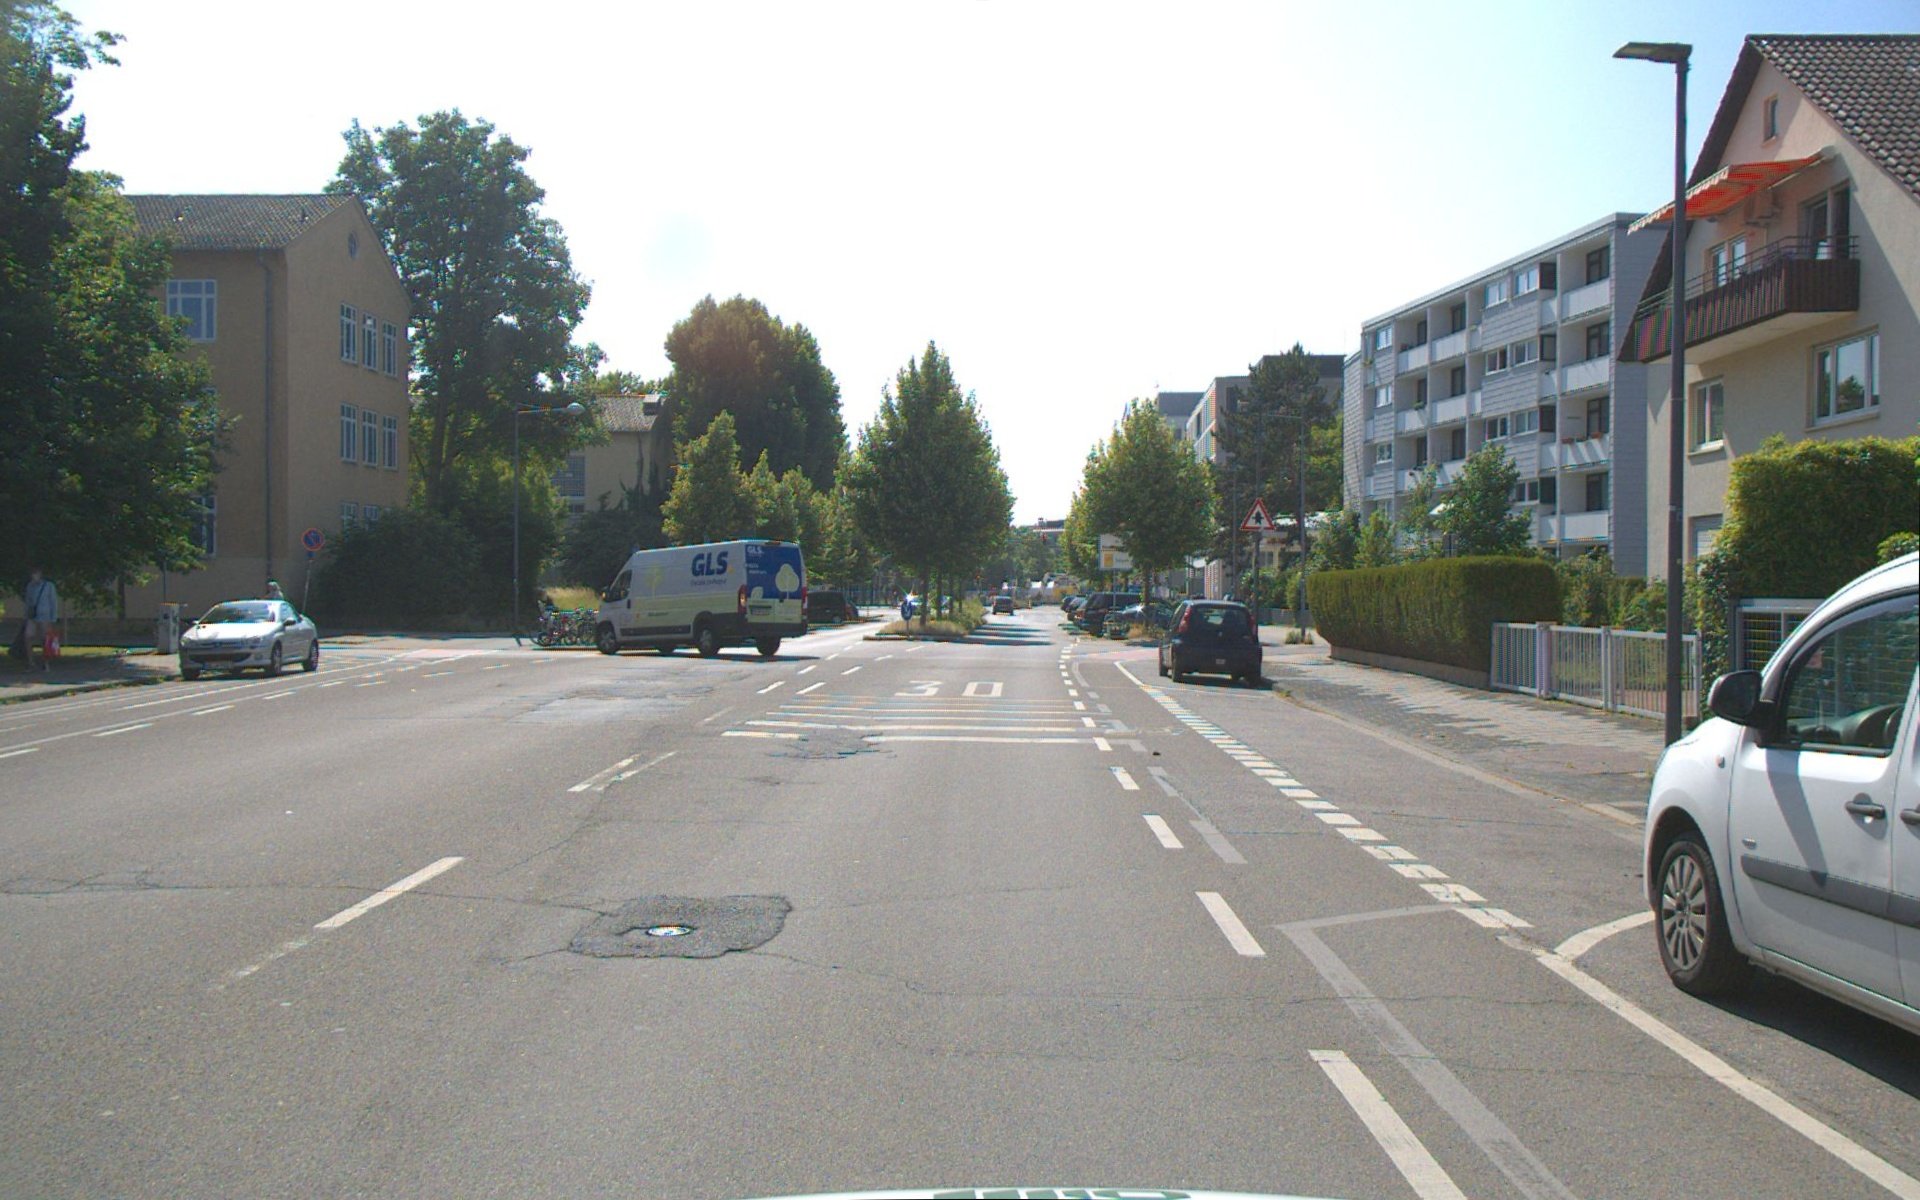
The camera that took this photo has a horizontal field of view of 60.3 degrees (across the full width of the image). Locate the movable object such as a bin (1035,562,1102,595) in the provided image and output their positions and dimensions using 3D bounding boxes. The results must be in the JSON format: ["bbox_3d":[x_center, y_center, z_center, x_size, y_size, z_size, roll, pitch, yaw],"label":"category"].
[{"bbox_3d":[15.517,-3.104,236.845,9.472,4.629,3.166,0,0,4],"label":"movable object such as a bin"}]

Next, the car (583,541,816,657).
[{"bbox_3d":[-6.312,-0.007,39.583,6.028,2.568,2.269,-1,0,43],"label":"car"}]

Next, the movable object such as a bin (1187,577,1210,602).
[{"bbox_3d":[16.479,-0.717,114.385,1.281,1.620,1.396,-2,0,0],"label":"movable object such as a bin"}]

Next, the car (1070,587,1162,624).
[{"bbox_3d":[7.213,0.255,76.583,3.914,1.668,1.749,0,0,-10],"label":"car"}]

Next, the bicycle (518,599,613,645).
[{"bbox_3d":[-11.243,0.619,47.215,2.492,1.261,0.739,-1,1,0],"label":"bicycle"}]

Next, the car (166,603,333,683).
[{"bbox_3d":[-13.149,0.755,30.862,1.687,1.289,3.996,-1,1,-5],"label":"car"}]

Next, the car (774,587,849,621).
[{"bbox_3d":[-8.016,0.220,89.130,3.708,1.803,1.808,0,0,-21],"label":"car"}]

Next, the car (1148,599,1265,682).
[{"bbox_3d":[4.550,0.701,30.985,1.583,1.414,4.000,1,0,0],"label":"car"}]

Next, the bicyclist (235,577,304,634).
[{"bbox_3d":[-17.905,0.133,42.914,1.322,1.428,0.961,-1,1,12],"label":"bicyclist"}]

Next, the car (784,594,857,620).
[{"bbox_3d":[-7.897,0.386,93.608,3.795,1.448,1.696,0,0,-34],"label":"car"}]

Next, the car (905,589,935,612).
[{"bbox_3d":[-2.745,0.036,113.729,1.705,1.574,4.074,-1,0,3],"label":"car"}]

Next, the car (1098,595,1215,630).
[{"bbox_3d":[7.164,0.439,60.396,3.934,1.258,1.740,0,0,-24],"label":"car"}]

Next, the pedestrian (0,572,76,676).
[{"bbox_3d":[-16.170,0.413,28.980,0.954,1.811,0.725,0,0,-2],"label":"pedestrian"}]

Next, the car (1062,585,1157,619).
[{"bbox_3d":[7.495,0.101,82.693,4.684,1.689,1.734,0,0,-32],"label":"car"}]

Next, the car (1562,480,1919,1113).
[{"bbox_3d":[3.695,0.604,5.377,1.726,1.858,4.597,2,0,0],"label":"car"}]

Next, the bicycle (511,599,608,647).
[{"bbox_3d":[-11.184,0.648,46.222,2.492,1.278,0.739,-1,1,0],"label":"bicycle"}]

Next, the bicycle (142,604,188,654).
[{"bbox_3d":[-18.304,0.663,38.071,1.686,1.100,0.375,1,1,44],"label":"bicycle"}]

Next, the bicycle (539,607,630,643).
[{"bbox_3d":[-11.012,0.727,48.580,2.492,1.005,0.739,-1,1,0],"label":"bicycle"}]

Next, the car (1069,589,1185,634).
[{"bbox_3d":[6.413,0.405,63.281,4.065,1.668,2.023,0,0,-31],"label":"car"}]

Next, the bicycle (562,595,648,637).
[{"bbox_3d":[-10.893,0.492,50.814,2.492,1.278,0.739,0,0,0],"label":"bicycle"}]

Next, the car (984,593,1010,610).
[{"bbox_3d":[3.016,0.114,134.938,1.953,1.422,3.999,0,0,-1],"label":"car"}]

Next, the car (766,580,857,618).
[{"bbox_3d":[-7.458,-0.082,83.027,4.141,1.848,1.979,-1,1,-36],"label":"car"}]

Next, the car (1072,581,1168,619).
[{"bbox_3d":[7.145,-0.006,73.755,3.925,1.668,1.744,0,1,-18],"label":"car"}]
